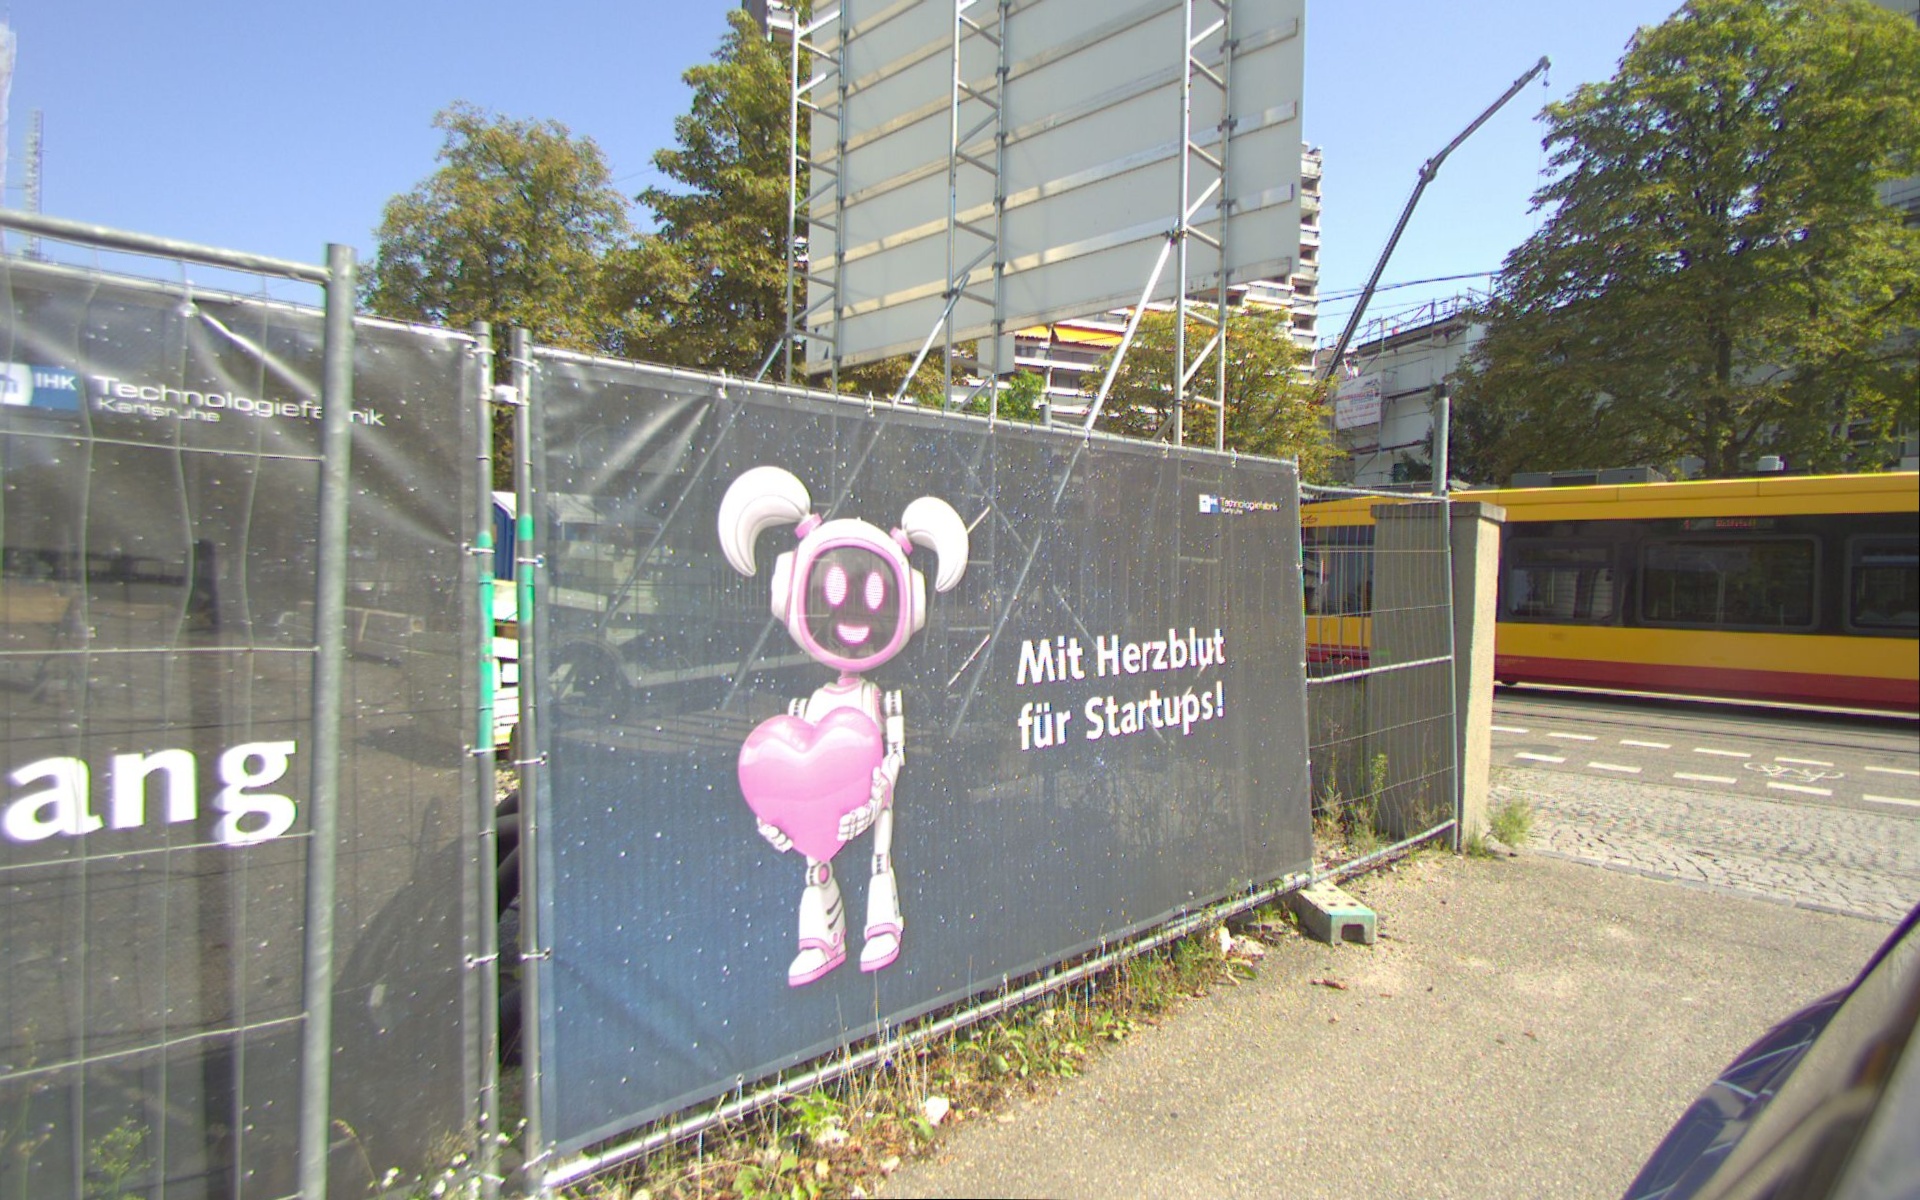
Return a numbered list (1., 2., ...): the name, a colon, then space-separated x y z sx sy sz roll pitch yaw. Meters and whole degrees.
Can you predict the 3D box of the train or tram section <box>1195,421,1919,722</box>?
1. train or tram section: 10.211 -0.452 16.832 3.452 3.750 12.377 0 1 -45
